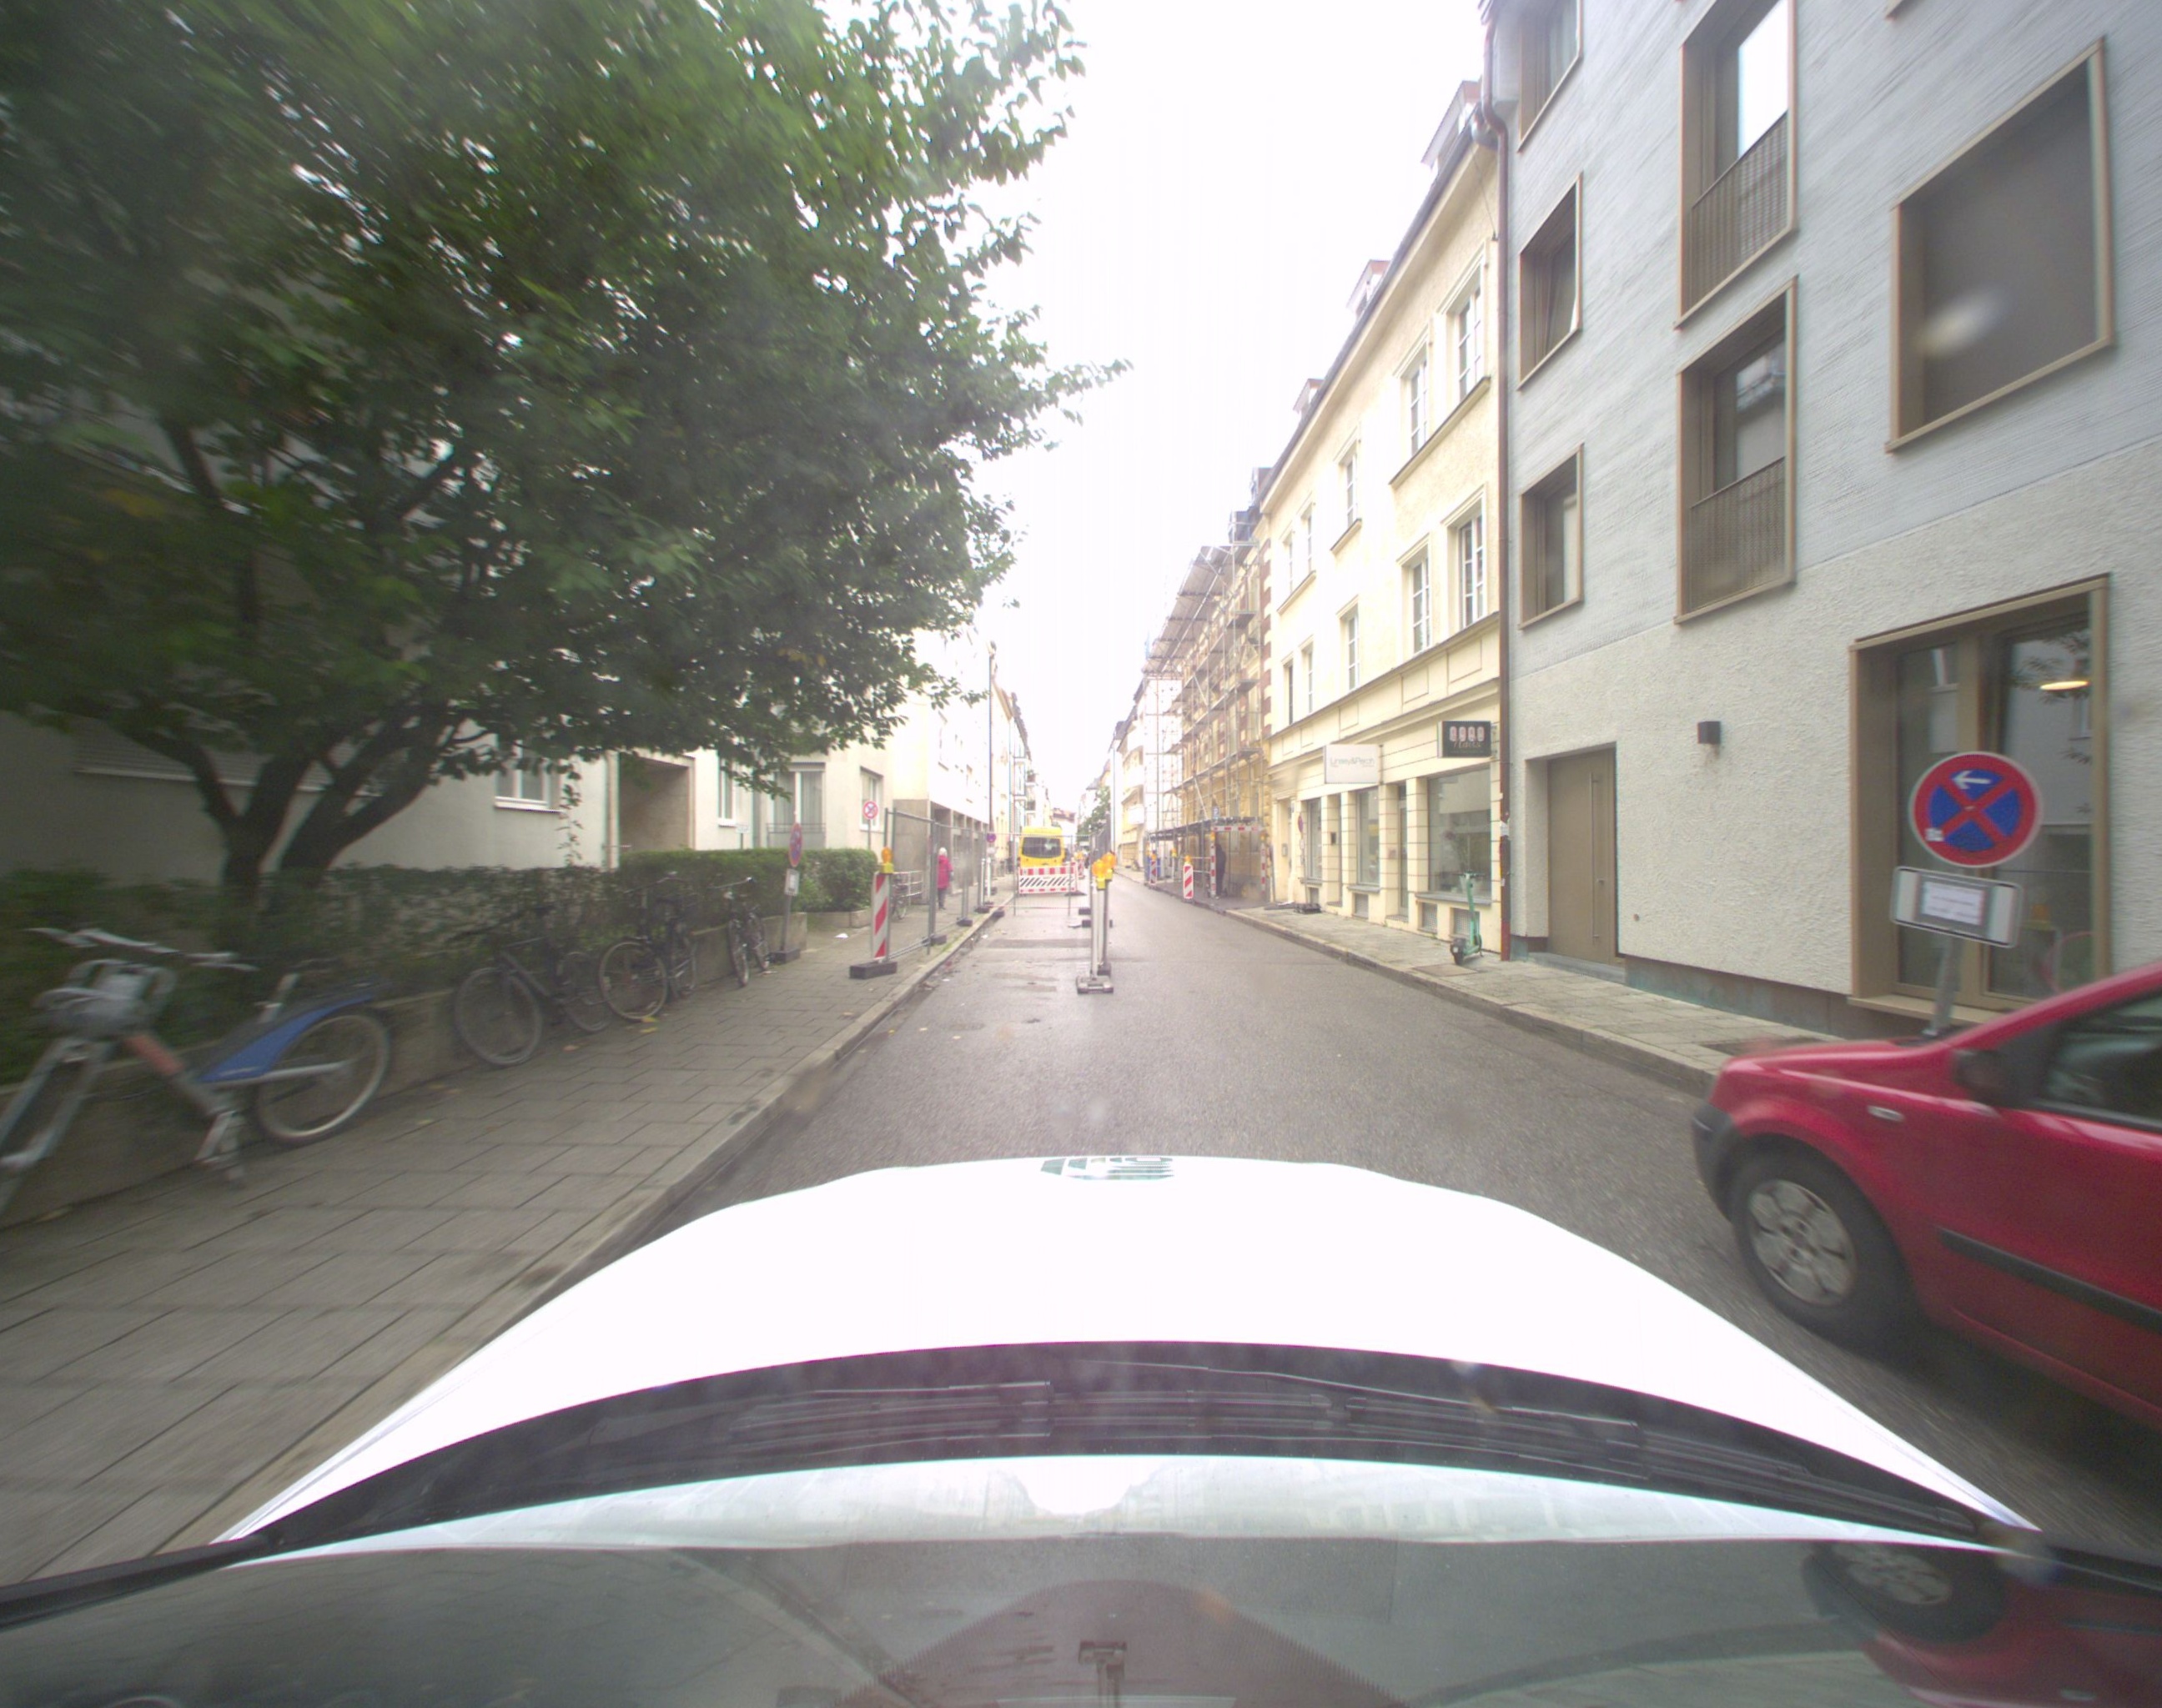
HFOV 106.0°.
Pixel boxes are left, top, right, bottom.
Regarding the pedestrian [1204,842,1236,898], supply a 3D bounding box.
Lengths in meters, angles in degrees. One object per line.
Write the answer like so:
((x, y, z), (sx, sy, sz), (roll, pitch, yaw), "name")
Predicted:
((4.573, 0.518, 26.838), (0.727, 1.752, 0.987), (-4, 0, -2), "pedestrian")

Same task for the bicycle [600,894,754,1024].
((-3.652, 0.897, 7.540), (0.442, 0.978, 1.853), (3, -1, 0), "bicycle")

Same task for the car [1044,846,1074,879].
((-1.373, 0.534, 50.963), (1.722, 1.897, 5.505), (-2, 0, -2), "car")

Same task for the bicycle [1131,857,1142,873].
((4.157, 0.832, 61.223), (0.636, 1.153, 1.914), (-3, 1, -1), "bicycle")

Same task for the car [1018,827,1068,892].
((-1.623, 0.221, 35.825), (1.988, 2.578, 6.731), (-1, 0, -2), "car")

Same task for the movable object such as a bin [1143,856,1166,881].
((4.144, 0.811, 45.708), (1.079, 1.346, 1.321), (-3, 0, 11), "movable object such as a bin")

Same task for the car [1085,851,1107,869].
((1.389, 0.559, 77.791), (1.889, 1.641, 4.318), (0, 0, -2), "car")

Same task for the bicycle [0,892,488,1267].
((-3.467, 0.777, 3.521), (0.487, 1.151, 1.698), (3, -1, 0), "bicycle")

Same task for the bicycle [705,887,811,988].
((-3.666, 0.909, 9.405), (0.442, 0.978, 1.815), (3, -1, 0), "bicycle")

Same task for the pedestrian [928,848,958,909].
((-3.558, 0.626, 21.031), (0.636, 1.532, 0.747), (-1, 0, 1), "pedestrian")

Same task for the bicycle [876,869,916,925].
((-3.919, 0.889, 17.338), (0.376, 1.063, 1.597), (6, 0, -1), "bicycle")

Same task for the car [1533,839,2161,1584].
((3.119, 0.757, 2.010), (1.766, 1.524, 4.066), (2, 0, 1), "car")

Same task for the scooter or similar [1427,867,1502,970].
((5.133, 0.819, 10.849), (0.489, 1.183, 1.618), (-3, 0, 39), "scooter or similar")

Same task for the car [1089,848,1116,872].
((1.745, 0.496, 67.964), (1.988, 1.932, 4.656), (1, 0, -2), "car")

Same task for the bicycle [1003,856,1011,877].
((-4.624, 0.773, 50.711), (0.381, 1.188, 2.129), (1, 1, -9), "bicycle")

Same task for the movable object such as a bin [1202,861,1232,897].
((4.566, 0.833, 27.331), (0.728, 1.141, 0.987), (-4, 0, -3), "movable object such as a bin")

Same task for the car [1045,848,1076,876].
((-1.520, 0.533, 57.507), (1.901, 1.897, 5.080), (0, 0, -5), "car")

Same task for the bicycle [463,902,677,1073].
((-3.640, 0.890, 5.979), (0.434, 0.978, 1.698), (3, -1, 0), "bicycle")
